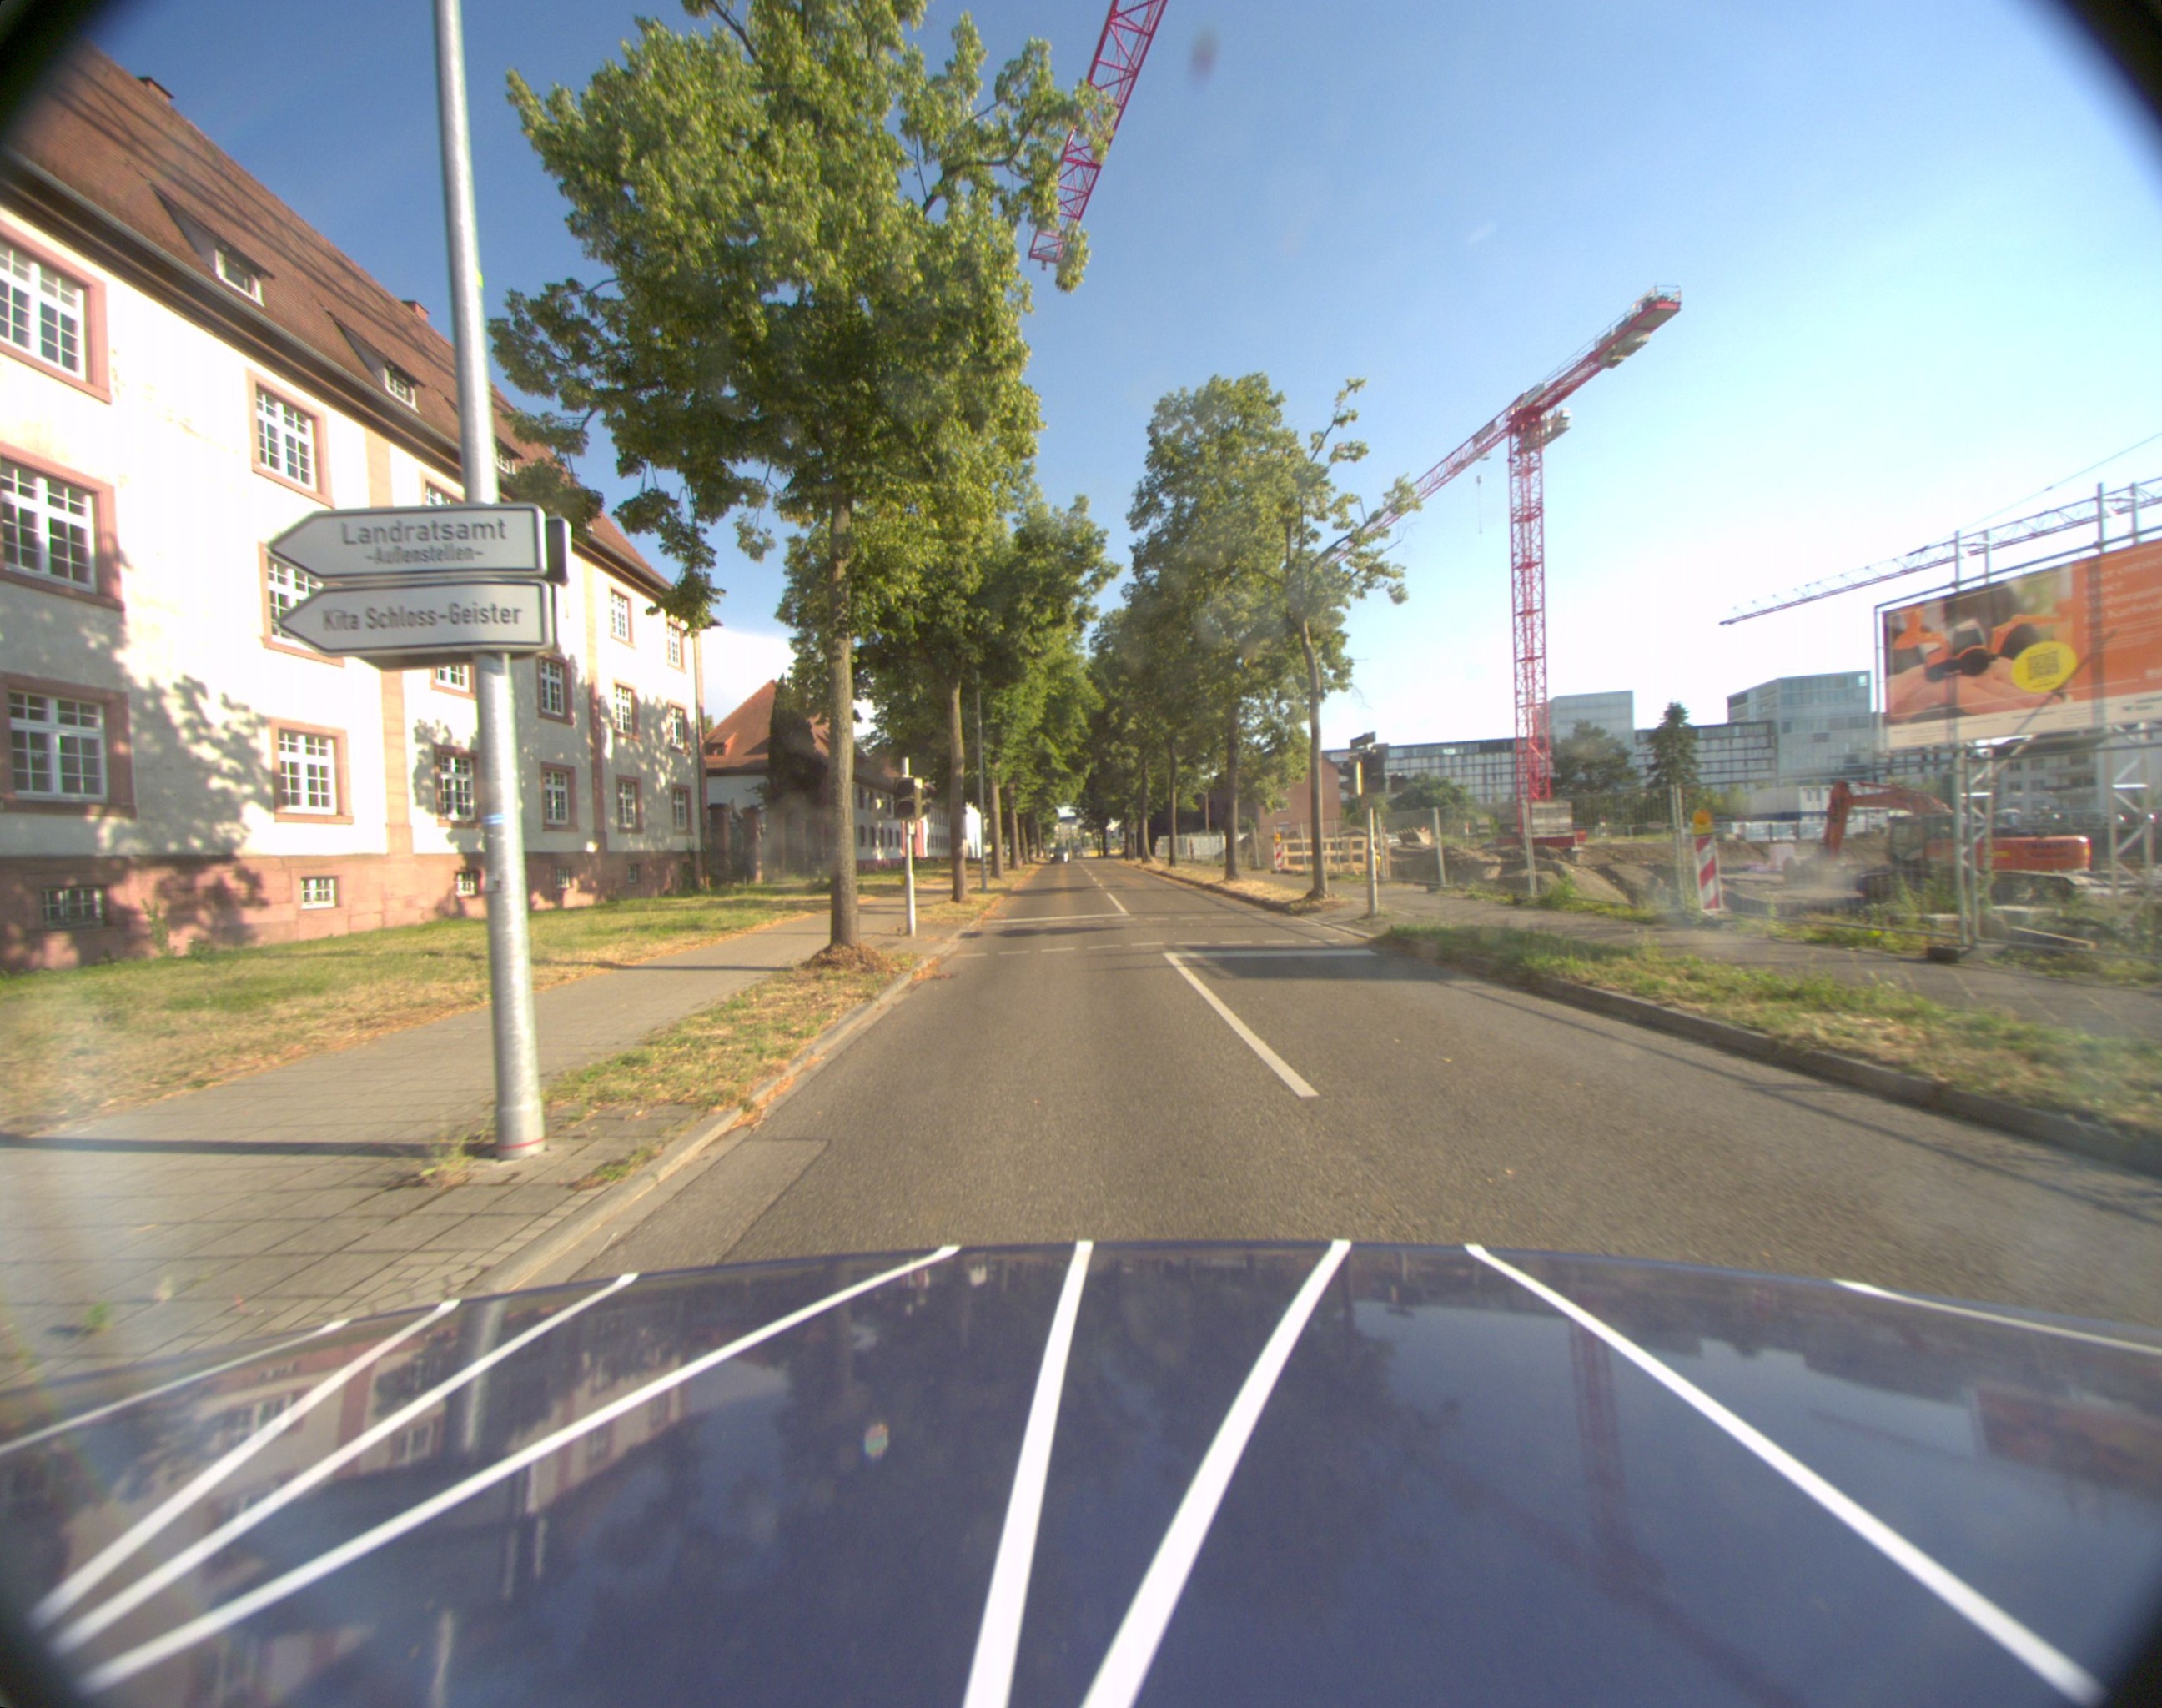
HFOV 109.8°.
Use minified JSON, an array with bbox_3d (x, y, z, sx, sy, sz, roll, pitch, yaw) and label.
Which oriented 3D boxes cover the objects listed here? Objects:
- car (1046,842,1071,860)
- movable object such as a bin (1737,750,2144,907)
[{"bbox_3d":[-2.046,-0.256,68.553,1.777,1.492,3.670,-3,1,-9],"label":"car"},{"bbox_3d":[34.403,-1.098,31.875,4.095,5.036,12.223,-4,2,6],"label":"movable object such as a bin"}]
